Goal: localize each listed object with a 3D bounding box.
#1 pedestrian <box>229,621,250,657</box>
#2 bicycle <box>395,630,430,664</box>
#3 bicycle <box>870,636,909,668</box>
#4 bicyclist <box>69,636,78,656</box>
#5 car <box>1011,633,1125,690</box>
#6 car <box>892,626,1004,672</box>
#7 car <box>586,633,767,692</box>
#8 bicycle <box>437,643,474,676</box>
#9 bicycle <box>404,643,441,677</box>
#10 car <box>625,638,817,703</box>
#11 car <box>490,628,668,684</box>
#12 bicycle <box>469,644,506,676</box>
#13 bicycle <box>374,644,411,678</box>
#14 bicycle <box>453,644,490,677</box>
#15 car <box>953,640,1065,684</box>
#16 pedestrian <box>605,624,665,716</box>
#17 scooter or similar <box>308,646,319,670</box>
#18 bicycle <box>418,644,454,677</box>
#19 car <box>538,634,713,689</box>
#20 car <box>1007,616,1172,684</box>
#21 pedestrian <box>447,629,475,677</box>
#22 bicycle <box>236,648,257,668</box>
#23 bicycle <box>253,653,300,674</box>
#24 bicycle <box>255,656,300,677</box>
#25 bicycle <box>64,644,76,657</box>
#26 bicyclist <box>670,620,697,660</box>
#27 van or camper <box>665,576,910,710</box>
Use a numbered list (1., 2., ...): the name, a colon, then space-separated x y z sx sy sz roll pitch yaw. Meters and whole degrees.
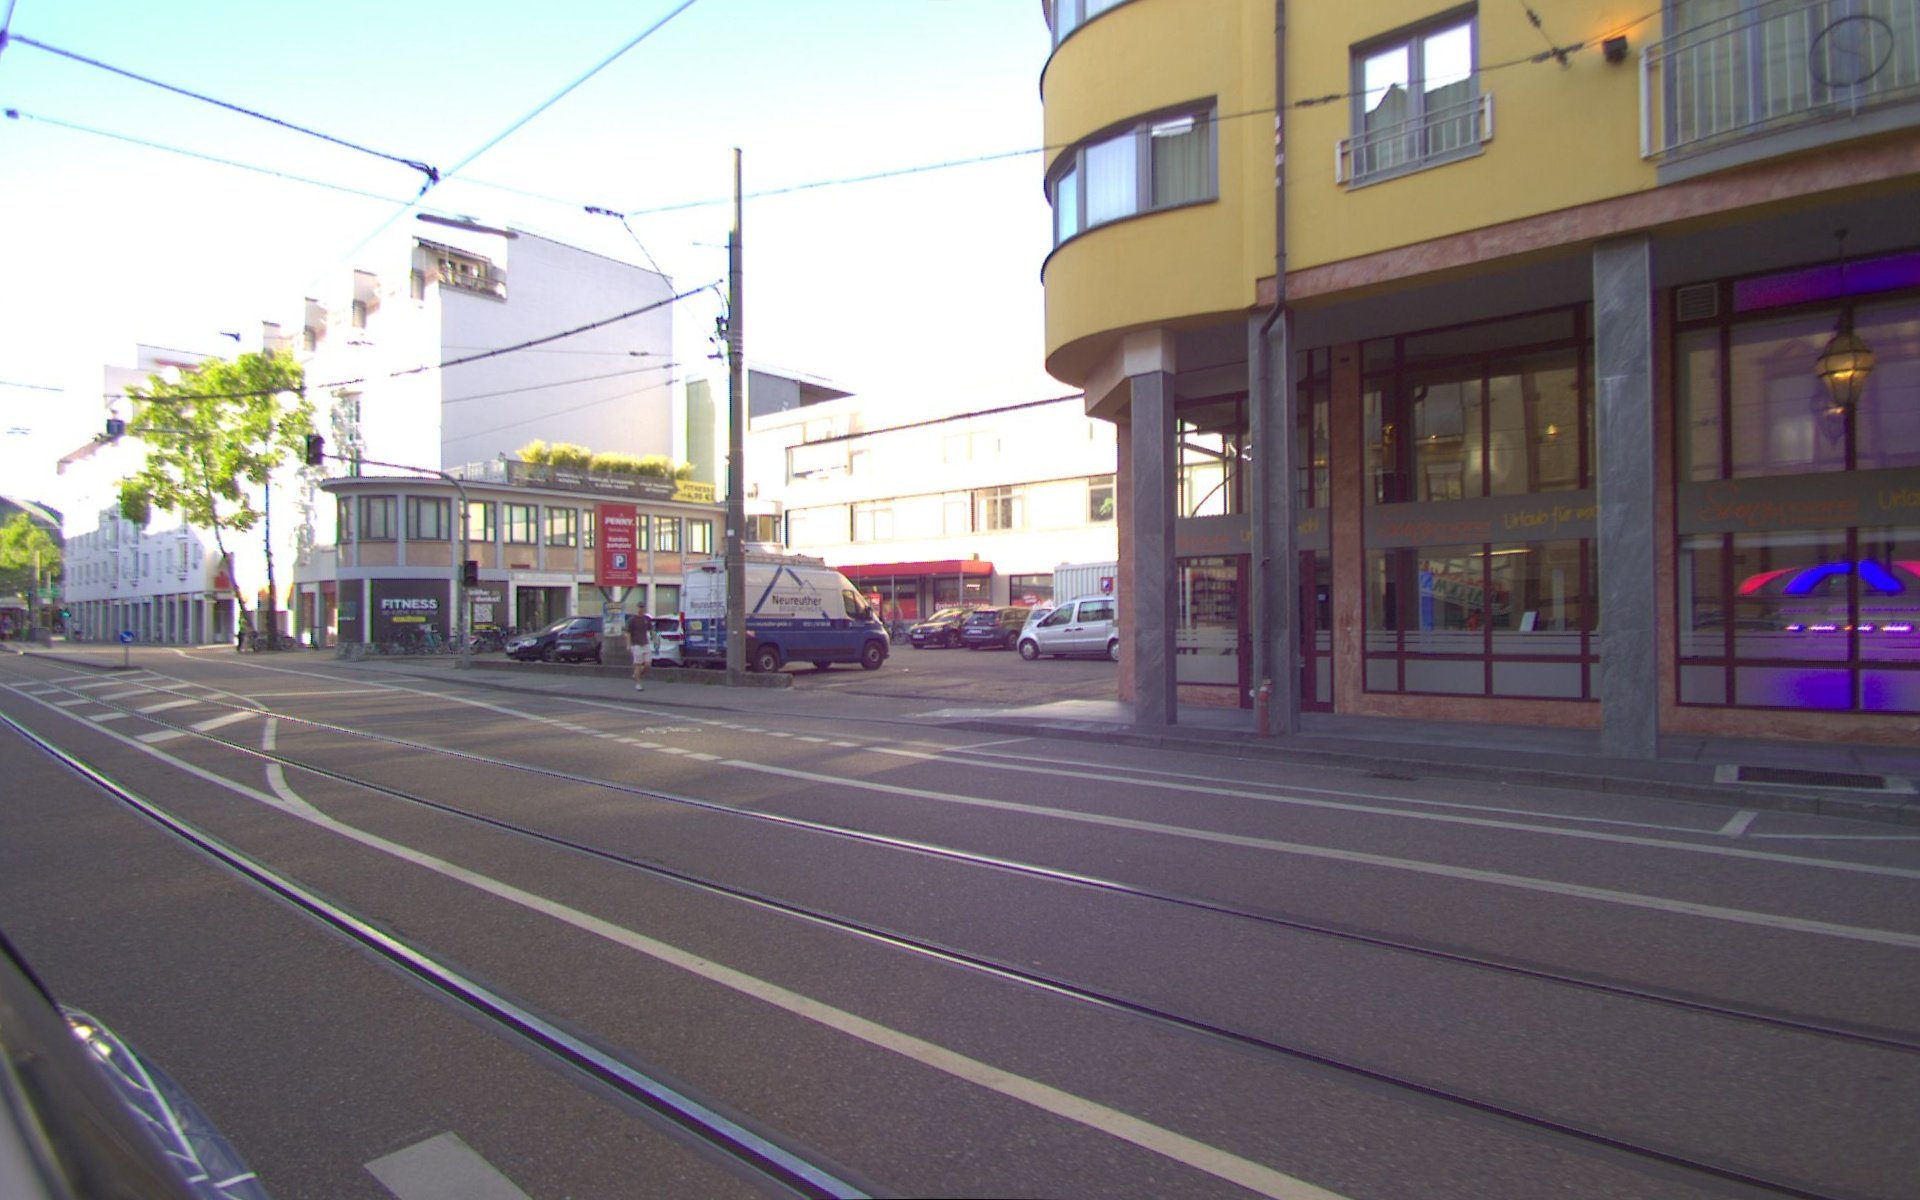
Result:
1. pedestrian: -35.269 1.913 49.559 0.621 1.729 0.828 1 -2 -23
2. bicycle: -19.700 1.696 36.424 1.829 1.196 0.436 -3 -3 40
3. bicycle: -2.708 1.985 38.790 0.426 1.196 1.833 2 -2 -43
4. bicyclist: -74.128 3.848 84.625 0.807 1.713 0.508 -2 -1 41
5. car: 3.598 1.963 33.239 1.997 1.713 3.949 -2 -2 37
6. car: -0.380 1.706 36.046 1.997 1.519 3.949 -2 -2 37
7. car: -7.678 1.662 27.747 1.878 1.487 4.541 -3 -3 40
8. bicycle: -18.491 2.170 37.087 1.828 1.196 0.444 -2 -3 37
9. bicycle: -19.517 2.162 36.752 1.828 1.196 0.444 -2 -3 37
10. car: -5.958 1.717 25.701 1.878 1.487 4.541 -3 -3 40
11. car: -11.619 1.692 31.185 1.878 1.595 4.844 -3 -3 40
12. bicycle: -17.877 2.267 38.272 1.828 1.196 0.444 -2 -3 37
13. bicycle: -20.439 2.198 36.415 1.828 1.196 0.441 -2 -3 37
14. bicycle: -18.204 2.242 37.682 1.828 1.196 0.444 -2 -3 37
15. car: 1.730 2.072 34.737 1.997 1.364 3.949 -2 -2 37
16. pedestrian: -6.756 1.434 21.041 0.908 1.846 0.825 -3 -3 39
17. scooter or similar: -31.459 2.825 49.222 0.330 1.120 1.183 1 -2 -27
18. bicycle: -19.170 2.209 37.013 1.828 1.196 0.439 -2 -3 37
19. car: -9.647 1.743 29.494 1.878 1.487 4.541 -3 -3 40
20. car: 3.541 1.376 28.040 4.115 1.749 1.974 -2 -3 39
21. pedestrian: -18.208 1.923 36.927 0.682 1.710 0.674 -3 -3 38
22. bicycle: -34.692 2.798 49.204 1.850 0.919 0.384 -2 -1 41
23. bicycle: -33.192 3.094 49.173 0.389 0.919 1.824 -2 -1 45
24. bicycle: -33.725 3.279 50.027 0.389 0.919 1.824 -5 -3 45
25. bicycle: -74.231 4.204 84.442 1.726 0.996 0.512 -2 -1 41
26. bicyclist: -11.007 1.586 40.352 0.687 1.561 0.831 -2 -3 23
27. van or camper: -3.981 0.901 24.304 2.313 2.848 5.549 -3 -1 40
